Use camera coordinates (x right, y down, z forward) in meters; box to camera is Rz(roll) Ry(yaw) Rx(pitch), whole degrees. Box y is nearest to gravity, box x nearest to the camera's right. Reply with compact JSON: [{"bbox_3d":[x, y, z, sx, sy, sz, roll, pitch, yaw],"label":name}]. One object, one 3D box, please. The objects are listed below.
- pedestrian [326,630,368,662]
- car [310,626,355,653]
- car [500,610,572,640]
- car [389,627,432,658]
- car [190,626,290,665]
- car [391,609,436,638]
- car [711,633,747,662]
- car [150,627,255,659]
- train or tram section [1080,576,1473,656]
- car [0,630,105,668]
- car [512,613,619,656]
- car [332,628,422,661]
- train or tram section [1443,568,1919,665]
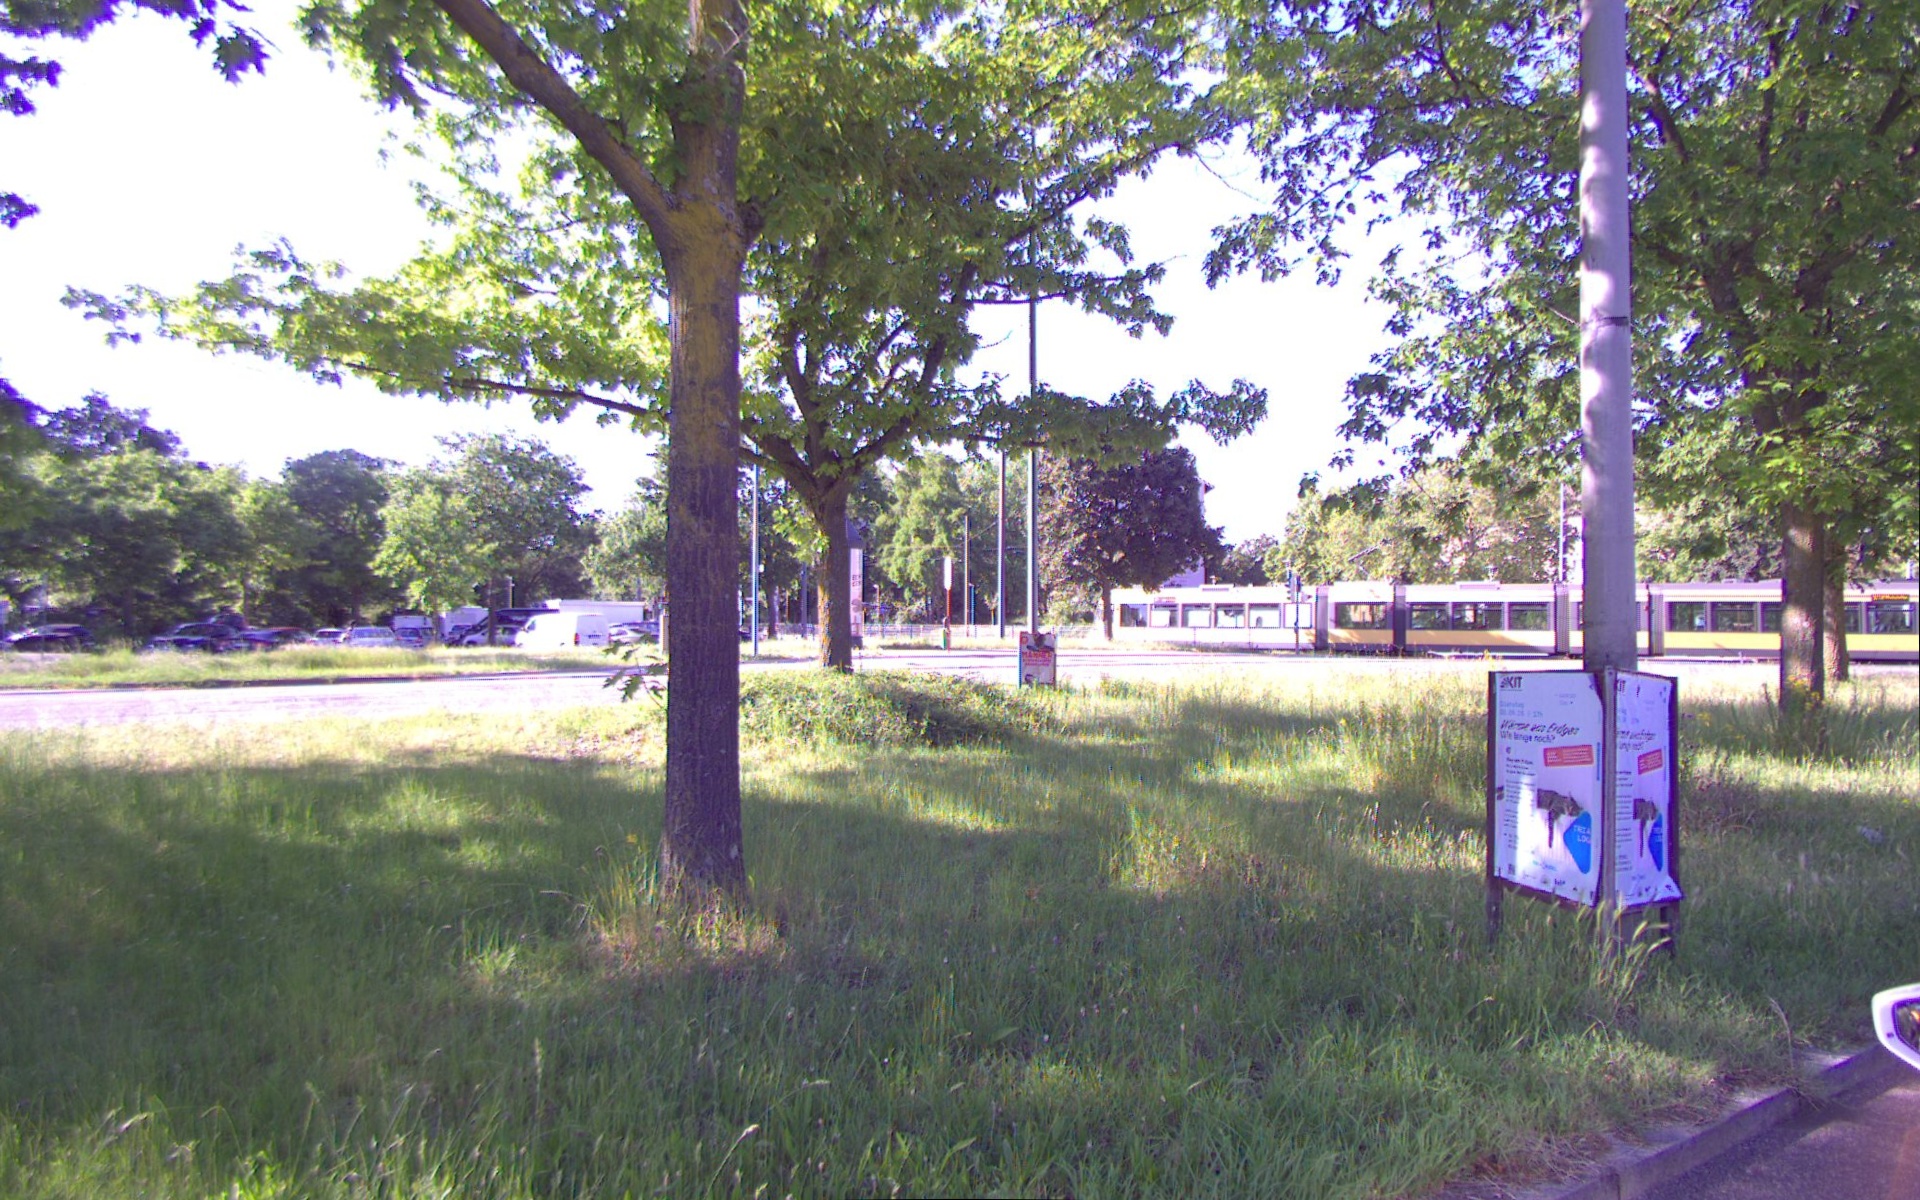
[{"bbox_3d":[-25.379,1.903,41.609,1.130,1.292,1.105,0,-1,33],"label":"pedestrian"},{"bbox_3d":[-29.298,1.831,46.861,1.603,1.194,3.047,1,-1,-35],"label":"car"},{"bbox_3d":[-24.134,1.420,57.285,3.698,1.691,1.883,1,-1,-23],"label":"car"},{"bbox_3d":[-26.705,2.035,48.775,1.602,1.438,3.050,1,-1,-33],"label":"car"},{"bbox_3d":[-25.237,1.568,35.240,2.769,1.323,1.326,1,-1,-40],"label":"car"},{"bbox_3d":[-32.492,1.373,59.782,1.865,1.691,3.733,1,-1,-22],"label":"car"},{"bbox_3d":[-12.034,2.461,52.483,1.589,1.438,3.073,0,-1,-8],"label":"car"},{"bbox_3d":[-26.846,1.508,35.625,1.315,1.078,2.777,-1,-1,42],"label":"car"},{"bbox_3d":[15.501,0.786,51.442,19.047,3.559,3.299,0,-1,32],"label":"train or tram section"},{"bbox_3d":[-47.482,2.512,52.368,1.966,1.817,3.990,0,-1,32],"label":"car"},{"bbox_3d":[-17.222,1.481,43.797,4.670,1.762,2.024,0,-1,34],"label":"car"},{"bbox_3d":[-21.830,1.639,37.630,2.769,1.171,1.326,1,-1,-40],"label":"car"},{"bbox_3d":[32.284,0.697,43.337,20.401,3.820,3.306,0,-1,21],"label":"train or tram section"}]
